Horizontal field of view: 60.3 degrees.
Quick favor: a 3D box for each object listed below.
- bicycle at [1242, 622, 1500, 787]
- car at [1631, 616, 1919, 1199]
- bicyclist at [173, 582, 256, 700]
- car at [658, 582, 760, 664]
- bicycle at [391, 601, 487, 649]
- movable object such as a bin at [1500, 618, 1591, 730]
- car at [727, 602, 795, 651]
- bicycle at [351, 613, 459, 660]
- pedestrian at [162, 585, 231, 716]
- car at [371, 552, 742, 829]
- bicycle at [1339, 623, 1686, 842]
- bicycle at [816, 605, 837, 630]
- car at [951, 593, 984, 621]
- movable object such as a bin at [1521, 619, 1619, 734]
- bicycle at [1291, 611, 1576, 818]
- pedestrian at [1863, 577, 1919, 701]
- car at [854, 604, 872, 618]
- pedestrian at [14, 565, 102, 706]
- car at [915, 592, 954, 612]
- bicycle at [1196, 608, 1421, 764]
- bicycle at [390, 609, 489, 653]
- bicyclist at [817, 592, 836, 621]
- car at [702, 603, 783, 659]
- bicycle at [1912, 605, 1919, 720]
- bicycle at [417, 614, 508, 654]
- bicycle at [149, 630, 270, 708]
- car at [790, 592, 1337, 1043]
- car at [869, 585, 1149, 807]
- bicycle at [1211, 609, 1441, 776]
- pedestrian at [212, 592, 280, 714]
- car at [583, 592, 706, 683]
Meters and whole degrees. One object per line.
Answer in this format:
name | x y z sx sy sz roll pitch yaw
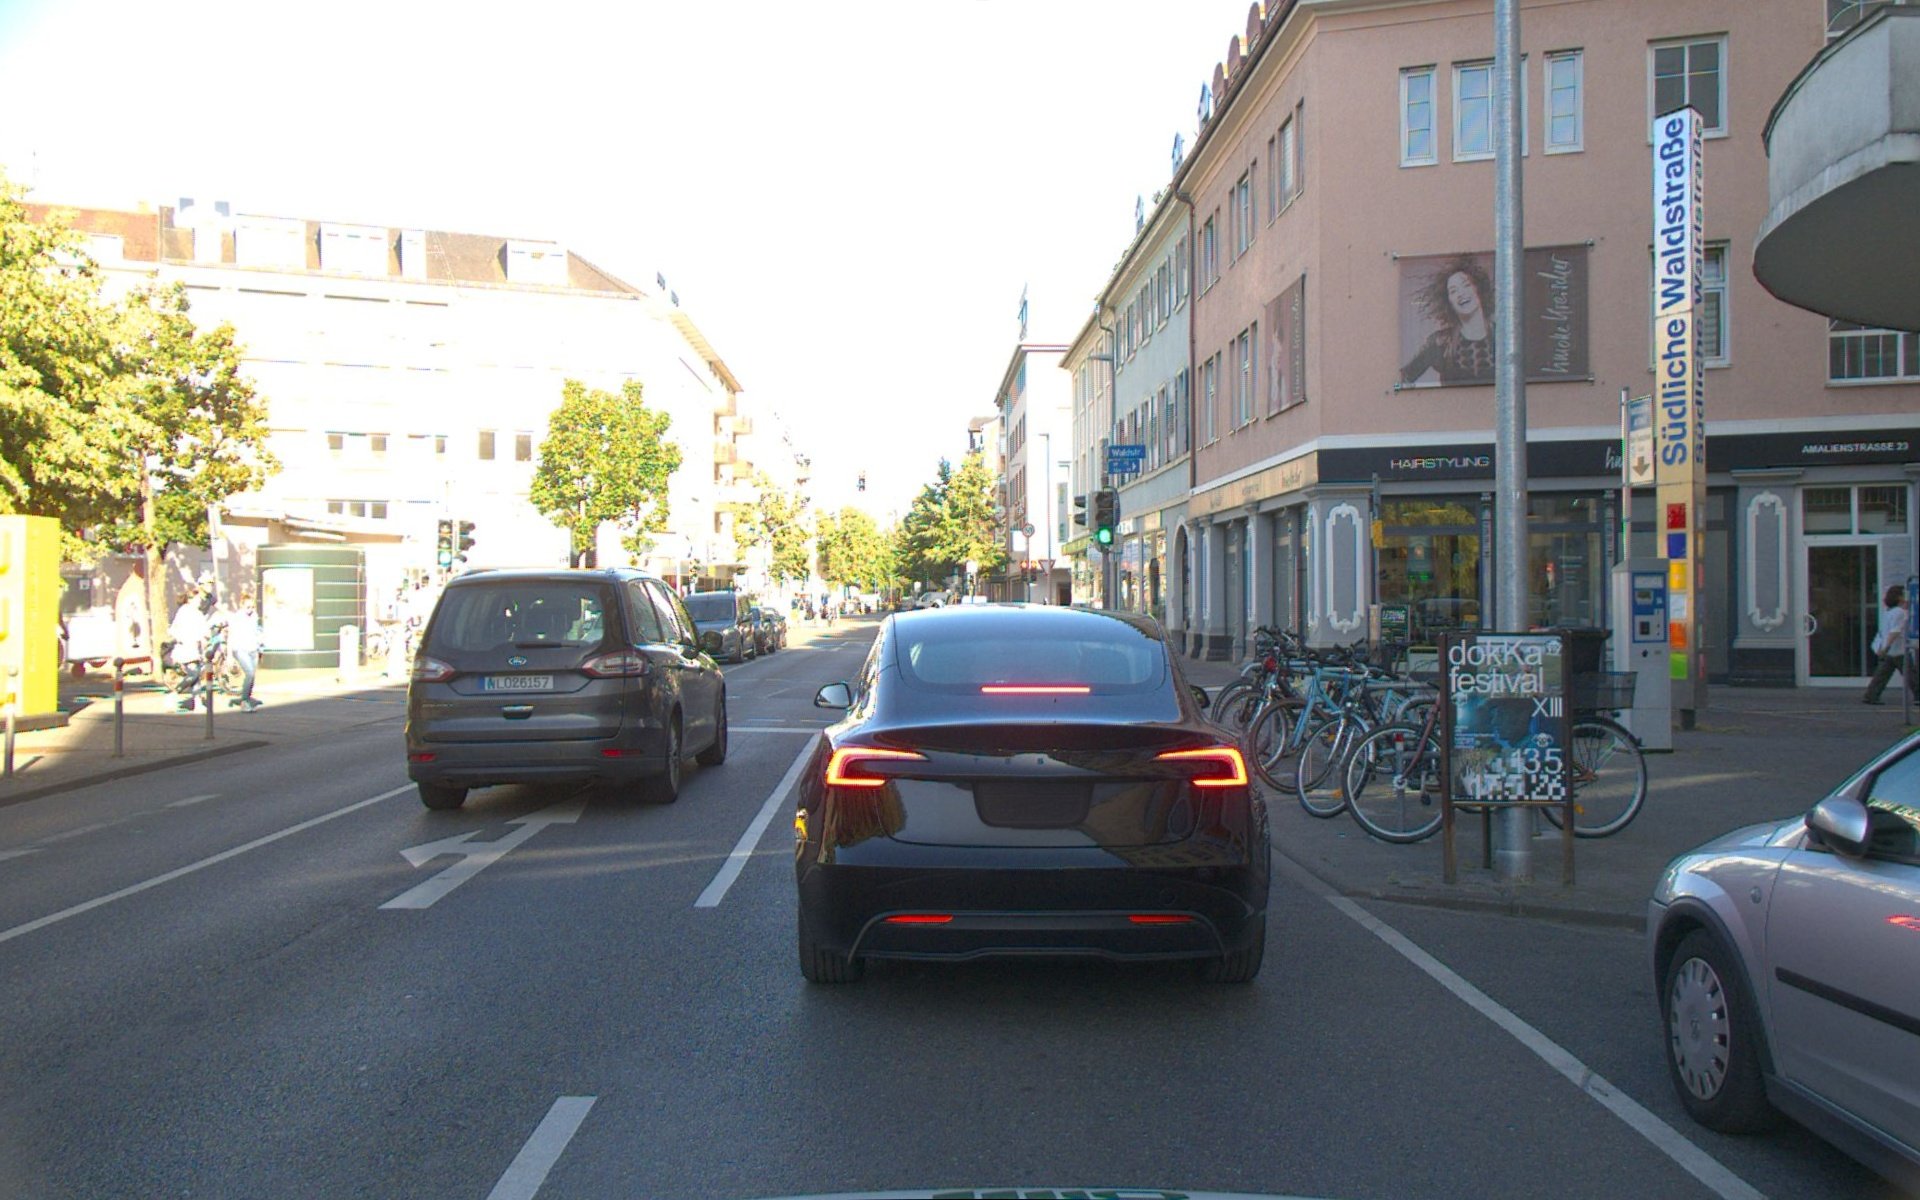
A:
bicycle | 3.059 0.770 12.455 1.760 1.144 0.782 -2 0 5
car | 2.948 0.776 3.464 1.580 1.406 3.642 1 0 0
bicyclist | -12.072 0.645 26.784 0.930 1.870 0.788 1 0 21
car | -6.362 0.541 42.360 1.797 1.877 4.674 -4 0 0
bicycle | -14.705 0.700 46.760 2.429 1.347 0.921 0 0 -6
movable object such as a bin | 6.026 0.750 17.048 0.718 1.111 0.627 1 -1 1
car | -6.797 0.876 56.857 1.954 1.461 4.671 -4 0 -3
bicycle | -14.185 0.925 42.303 2.455 1.176 0.842 0 0 -2
pedestrian | -10.446 0.674 22.642 0.537 1.758 0.673 0 0 32
car | -2.977 0.588 13.298 1.953 1.803 4.726 -1 0 -2
bicycle | 3.288 0.782 9.974 1.846 1.214 0.692 -2 1 5
bicycle | -7.687 1.008 95.349 1.089 1.368 3.997 0 0 -4
car | 0.452 0.406 100.749 1.953 1.657 3.999 0 0 -1
movable object such as a bin | 6.047 0.748 16.411 0.737 1.111 0.627 1 -1 1
bicycle | 3.141 0.748 11.104 1.686 1.290 0.791 -2 0 5
pedestrian | 12.131 0.494 21.353 0.731 1.579 0.699 0 0 20
car | -10.963 1.232 186.841 1.954 1.666 3.997 0 0 -4
pedestrian | -13.049 0.502 23.933 0.811 1.989 0.710 1 0 11
car | -2.551 0.177 167.464 3.907 2.049 1.999 0 0 -2
bicycle | 3.055 0.747 14.664 1.822 1.280 0.833 -2 0 5
bicycle | -14.098 0.845 44.837 2.412 1.176 0.842 0 0 -2
bicyclist | -7.703 0.381 95.443 1.104 1.657 0.964 0 0 -4
car | -6.415 0.888 49.272 1.954 1.434 4.671 -4 0 -3
bicycle | 10.301 0.663 16.800 0.645 1.220 2.212 0 0 18
bicycle | -14.883 1.018 49.514 2.485 1.176 0.841 0 0 -6
bicycle | -12.138 1.097 26.741 2.019 1.159 0.538 2 0 23
car | 0.316 0.722 7.467 1.810 1.480 3.999 0 0 -1
car | 0.272 0.666 13.641 1.953 1.538 4.173 0 0 -2
bicycle | 2.991 0.746 13.632 1.709 1.289 0.781 -2 0 2
pedestrian | -10.064 0.738 23.322 0.671 1.692 0.619 0 0 34
car | -6.241 0.700 33.168 1.771 1.582 4.307 -4 0 -3
